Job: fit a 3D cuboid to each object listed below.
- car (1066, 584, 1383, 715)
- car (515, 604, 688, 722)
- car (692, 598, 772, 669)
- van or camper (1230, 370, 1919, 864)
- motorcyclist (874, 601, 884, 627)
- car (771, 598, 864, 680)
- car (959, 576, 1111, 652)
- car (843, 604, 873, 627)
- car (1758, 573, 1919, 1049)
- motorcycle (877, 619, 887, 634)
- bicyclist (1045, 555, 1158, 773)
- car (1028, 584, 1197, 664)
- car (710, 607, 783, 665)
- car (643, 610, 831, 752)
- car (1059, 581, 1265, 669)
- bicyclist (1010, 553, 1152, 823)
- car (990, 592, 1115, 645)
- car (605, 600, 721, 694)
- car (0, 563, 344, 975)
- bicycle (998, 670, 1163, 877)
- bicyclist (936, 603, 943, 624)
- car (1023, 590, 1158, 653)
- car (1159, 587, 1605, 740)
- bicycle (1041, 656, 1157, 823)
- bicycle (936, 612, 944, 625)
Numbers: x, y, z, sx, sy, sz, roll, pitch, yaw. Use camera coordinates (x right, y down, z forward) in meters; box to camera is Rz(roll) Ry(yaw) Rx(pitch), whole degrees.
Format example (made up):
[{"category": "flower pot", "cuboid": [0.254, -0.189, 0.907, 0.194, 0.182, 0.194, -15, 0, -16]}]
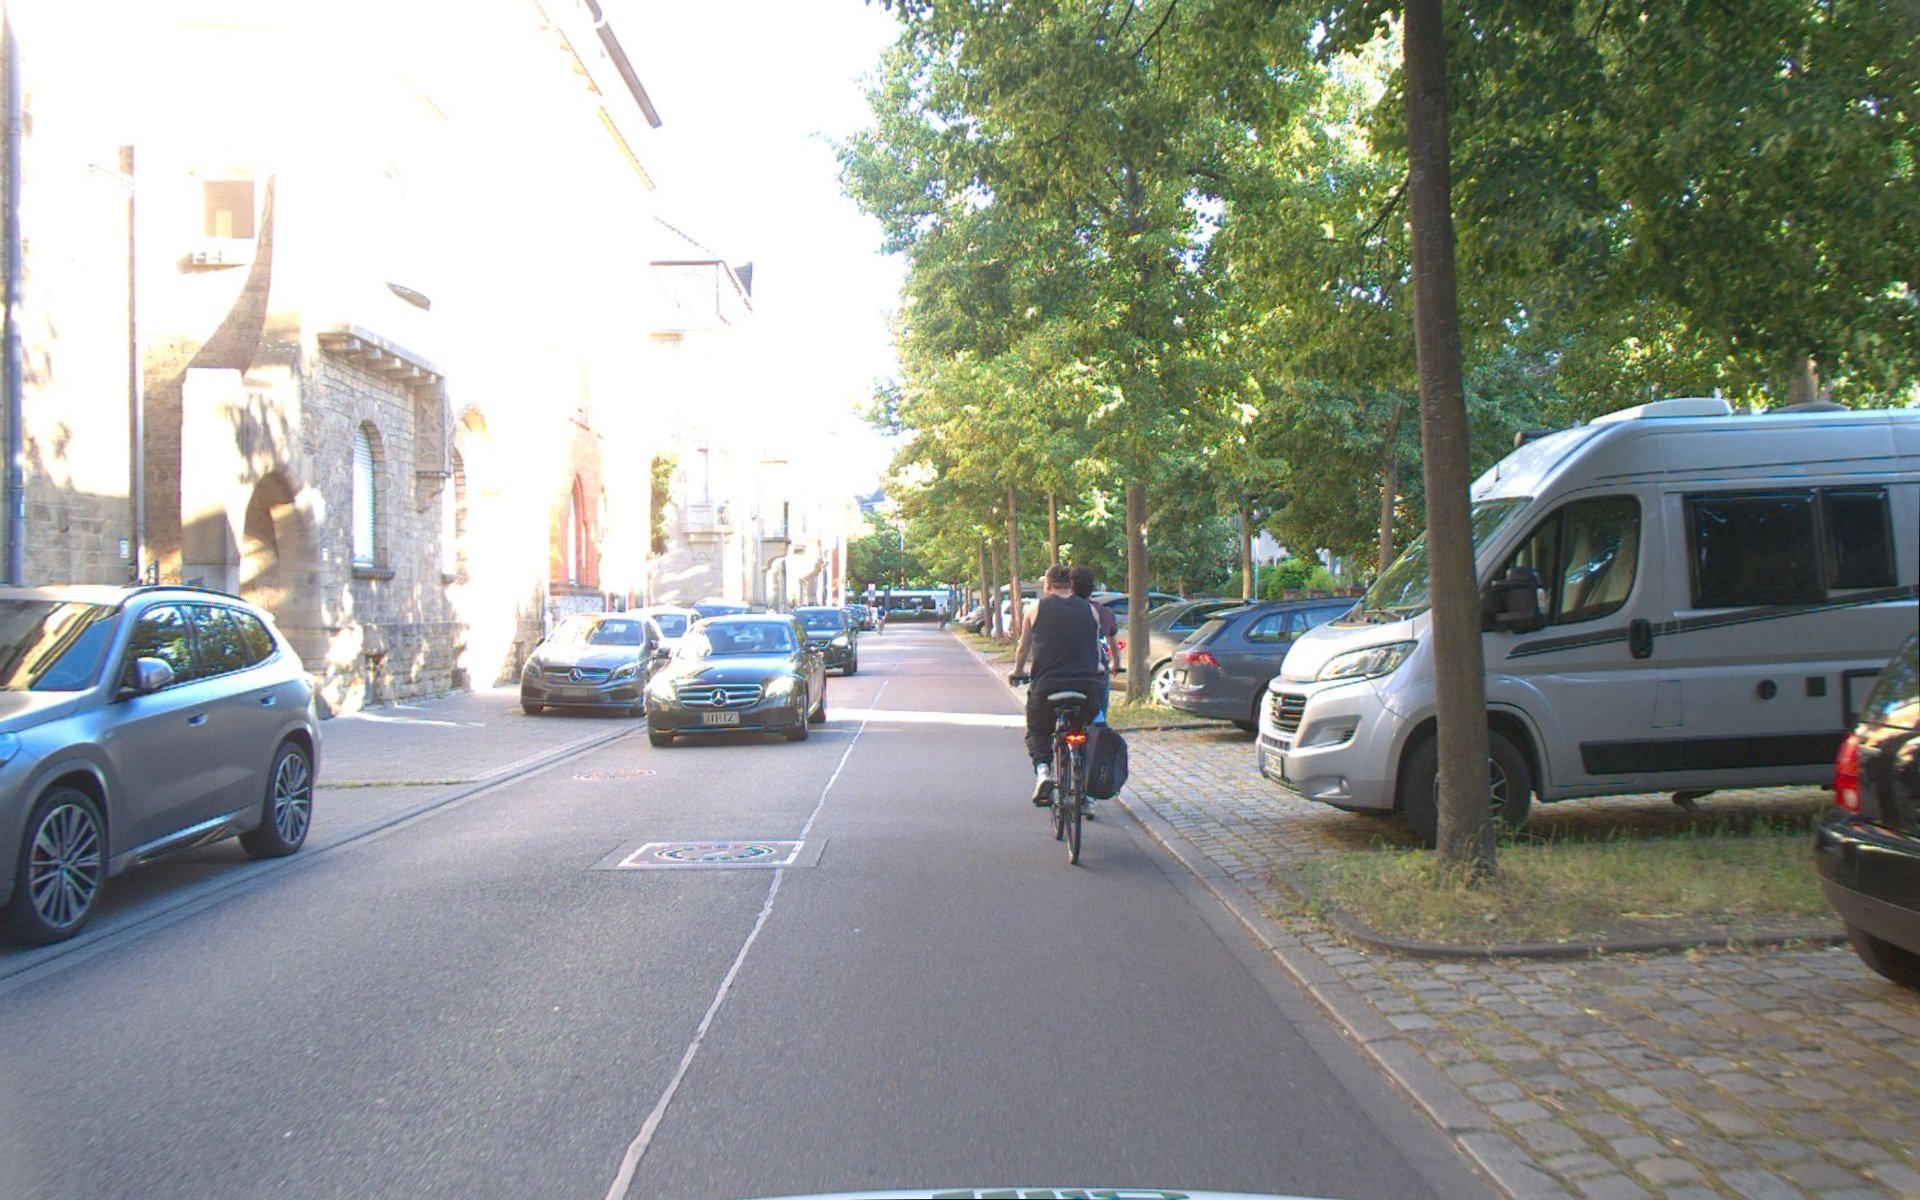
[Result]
[{"category": "car", "cuboid": [3.727, 0.694, 23.723, 4.160, 1.634, 1.752, -2, -1, -4]}, {"category": "car", "cuboid": [-5.302, 0.905, 24.960, 1.719, 1.544, 4.113, 3, -1, -1]}, {"category": "car", "cuboid": [-5.691, 0.849, 41.709, 1.598, 1.694, 3.966, -1, -1, -2]}, {"category": "van or camper", "cuboid": [4.720, 0.047, 10.508, 5.464, 2.581, 2.267, -3, -1, -3]}, {"category": "motorcyclist", "cuboid": [-4.611, 0.814, 94.412, 0.540, 1.474, 0.687, -1, 0, -4]}, {"category": "car", "cuboid": [-3.170, 0.862, 37.444, 1.731, 1.627, 4.088, -3, -1, -1]}, {"category": "car", "cuboid": [3.595, 0.674, 80.346, 7.183, 3.339, 2.223, -2, -1, 0]}, {"category": "car", "cuboid": [-7.371, 1.151, 119.943, 1.953, 1.557, 3.999, -1, -1, -1]}, {"category": "car", "cuboid": [4.715, 0.601, 5.295, 3.431, 1.498, 1.750, -2, -1, -2]}, {"category": "motorcycle", "cuboid": [-4.456, 1.526, 94.417, 0.540, 0.815, 1.307, -1, 0, -4]}, {"category": "bicyclist", "cuboid": [1.040, 0.468, 12.353, 0.704, 1.553, 0.971, -1, -1, -2]}, {"category": "car", "cuboid": [3.927, 0.631, 43.021, 4.156, 1.872, 1.854, -2, -1, 0]}, {"category": "car", "cuboid": [-6.082, 1.026, 47.505, 1.583, 1.508, 4.017, 3, -1, -1]}, {"category": "car", "cuboid": [-2.610, 0.935, 20.288, 1.858, 1.512, 4.379, -1, -1, -2]}, {"category": "car", "cuboid": [4.296, 0.534, 35.621, 4.156, 1.676, 1.854, -2, -1, 0]}, {"category": "bicyclist", "cuboid": [0.720, 0.518, 10.110, 0.692, 1.553, 0.971, -1, -1, -5]}, {"category": "car", "cuboid": [3.512, 0.732, 63.636, 4.660, 1.811, 1.854, -2, -1, 0]}, {"category": "car", "cuboid": [-5.398, 0.834, 30.433, 1.461, 1.544, 3.774, 3, -1, -1]}, {"category": "car", "cuboid": [-4.962, 0.738, 8.679, 2.009, 1.650, 4.392, -1, -1, -3]}, {"category": "bicycle", "cuboid": [0.693, 0.999, 10.158, 0.682, 1.092, 1.966, -1, -1, -5]}, {"category": "bicyclist", "cuboid": [-1.351, 0.892, 109.687, 0.408, 1.374, 0.430, -1, -2, -1]}, {"category": "car", "cuboid": [4.179, 0.689, 53.493, 4.156, 1.828, 1.854, -2, -1, 0]}, {"category": "car", "cuboid": [4.512, 0.676, 18.171, 4.410, 1.478, 1.816, -2, -1, 0]}, {"category": "bicycle", "cuboid": [1.006, 0.994, 12.396, 0.544, 1.091, 1.967, -1, 0, -4]}, {"category": "bicycle", "cuboid": [-1.336, 1.230, 109.636, 0.530, 0.842, 1.918, -1, -1, -1]}]
